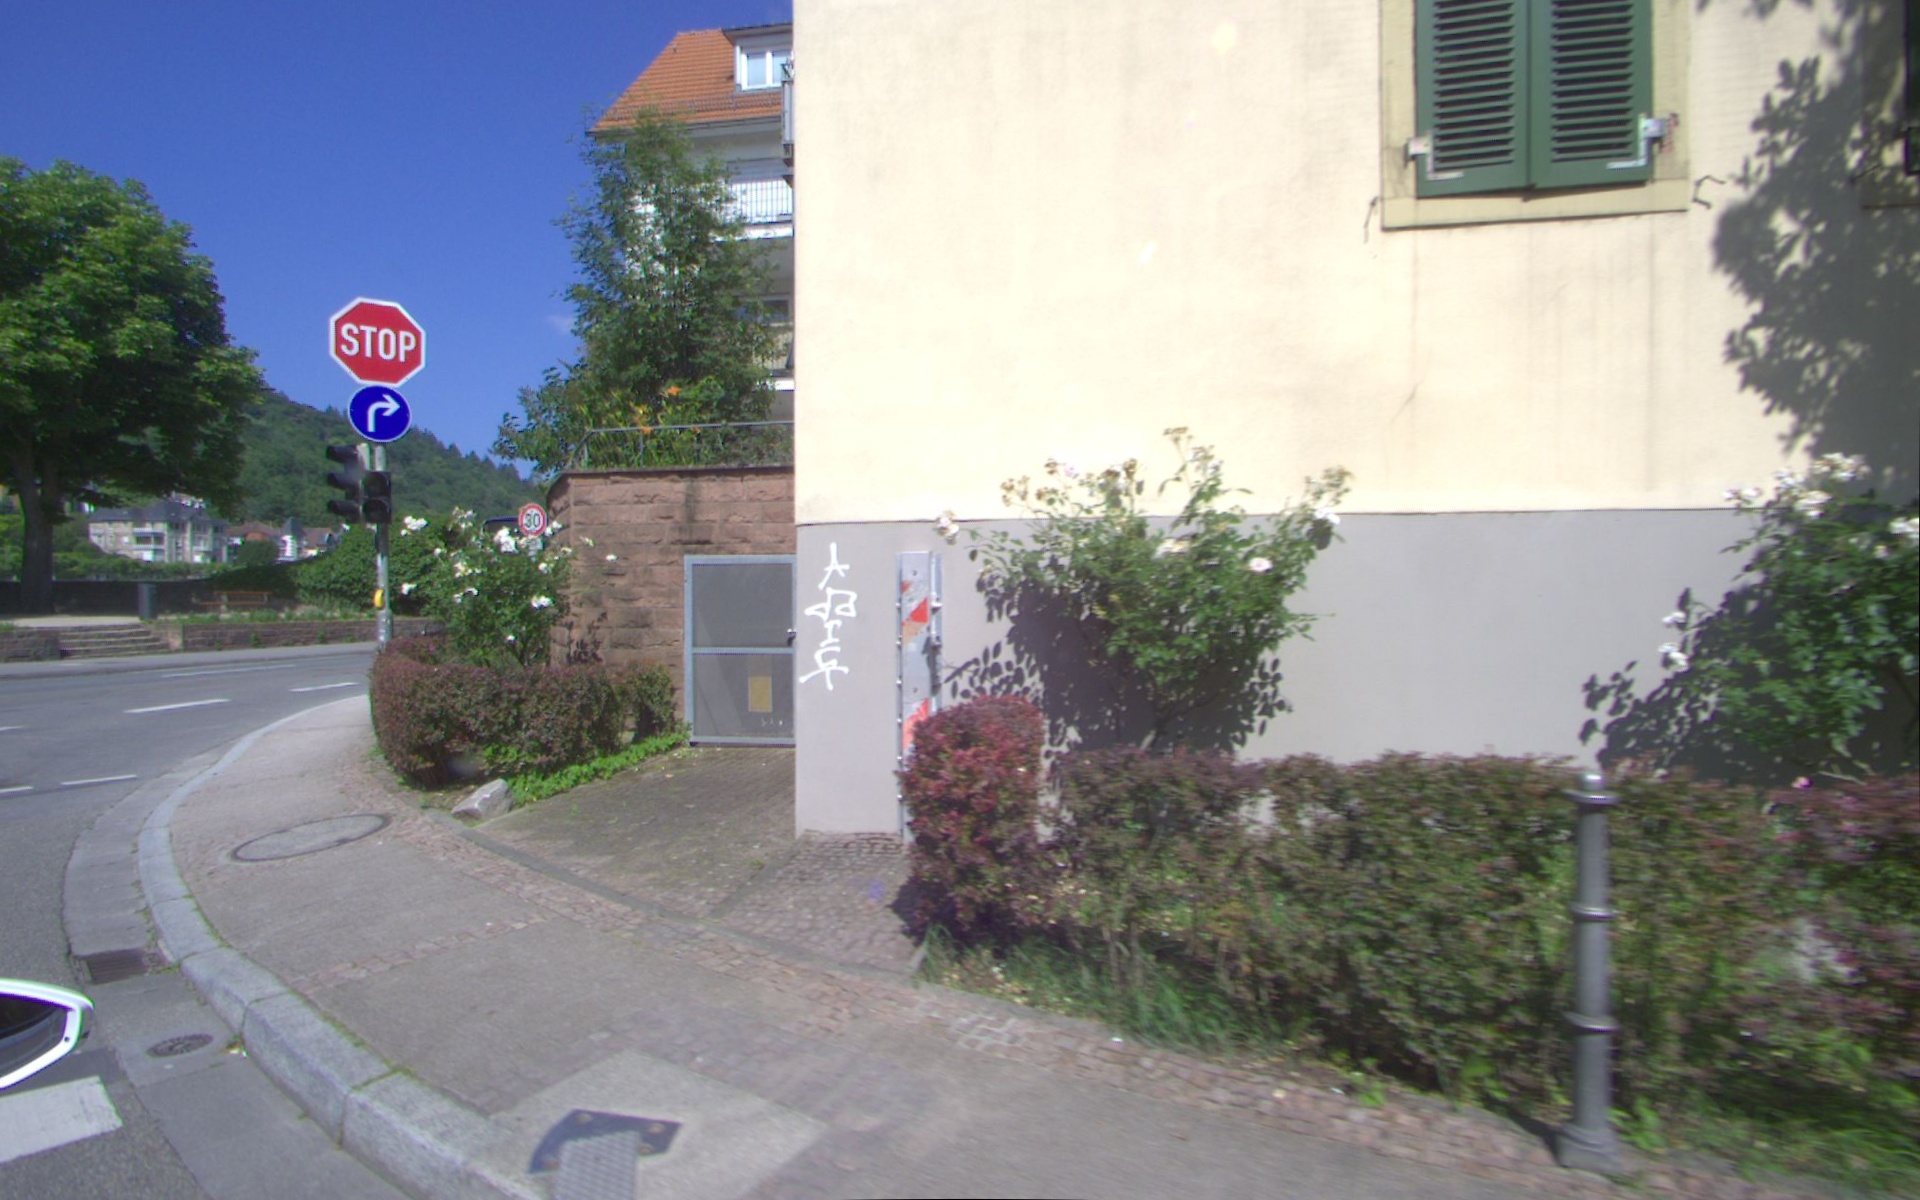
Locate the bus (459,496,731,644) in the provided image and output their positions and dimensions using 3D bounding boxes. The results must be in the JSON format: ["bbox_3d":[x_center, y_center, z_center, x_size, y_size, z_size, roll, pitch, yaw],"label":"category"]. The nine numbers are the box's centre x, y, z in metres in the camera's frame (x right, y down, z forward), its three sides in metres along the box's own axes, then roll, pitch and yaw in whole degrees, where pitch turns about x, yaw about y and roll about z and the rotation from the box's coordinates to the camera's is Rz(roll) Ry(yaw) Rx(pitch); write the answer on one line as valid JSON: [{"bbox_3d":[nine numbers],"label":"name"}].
[{"bbox_3d":[-11.005,-0.773,32.348,2.851,3.838,12.175,0,0,8],"label":"bus"}]
